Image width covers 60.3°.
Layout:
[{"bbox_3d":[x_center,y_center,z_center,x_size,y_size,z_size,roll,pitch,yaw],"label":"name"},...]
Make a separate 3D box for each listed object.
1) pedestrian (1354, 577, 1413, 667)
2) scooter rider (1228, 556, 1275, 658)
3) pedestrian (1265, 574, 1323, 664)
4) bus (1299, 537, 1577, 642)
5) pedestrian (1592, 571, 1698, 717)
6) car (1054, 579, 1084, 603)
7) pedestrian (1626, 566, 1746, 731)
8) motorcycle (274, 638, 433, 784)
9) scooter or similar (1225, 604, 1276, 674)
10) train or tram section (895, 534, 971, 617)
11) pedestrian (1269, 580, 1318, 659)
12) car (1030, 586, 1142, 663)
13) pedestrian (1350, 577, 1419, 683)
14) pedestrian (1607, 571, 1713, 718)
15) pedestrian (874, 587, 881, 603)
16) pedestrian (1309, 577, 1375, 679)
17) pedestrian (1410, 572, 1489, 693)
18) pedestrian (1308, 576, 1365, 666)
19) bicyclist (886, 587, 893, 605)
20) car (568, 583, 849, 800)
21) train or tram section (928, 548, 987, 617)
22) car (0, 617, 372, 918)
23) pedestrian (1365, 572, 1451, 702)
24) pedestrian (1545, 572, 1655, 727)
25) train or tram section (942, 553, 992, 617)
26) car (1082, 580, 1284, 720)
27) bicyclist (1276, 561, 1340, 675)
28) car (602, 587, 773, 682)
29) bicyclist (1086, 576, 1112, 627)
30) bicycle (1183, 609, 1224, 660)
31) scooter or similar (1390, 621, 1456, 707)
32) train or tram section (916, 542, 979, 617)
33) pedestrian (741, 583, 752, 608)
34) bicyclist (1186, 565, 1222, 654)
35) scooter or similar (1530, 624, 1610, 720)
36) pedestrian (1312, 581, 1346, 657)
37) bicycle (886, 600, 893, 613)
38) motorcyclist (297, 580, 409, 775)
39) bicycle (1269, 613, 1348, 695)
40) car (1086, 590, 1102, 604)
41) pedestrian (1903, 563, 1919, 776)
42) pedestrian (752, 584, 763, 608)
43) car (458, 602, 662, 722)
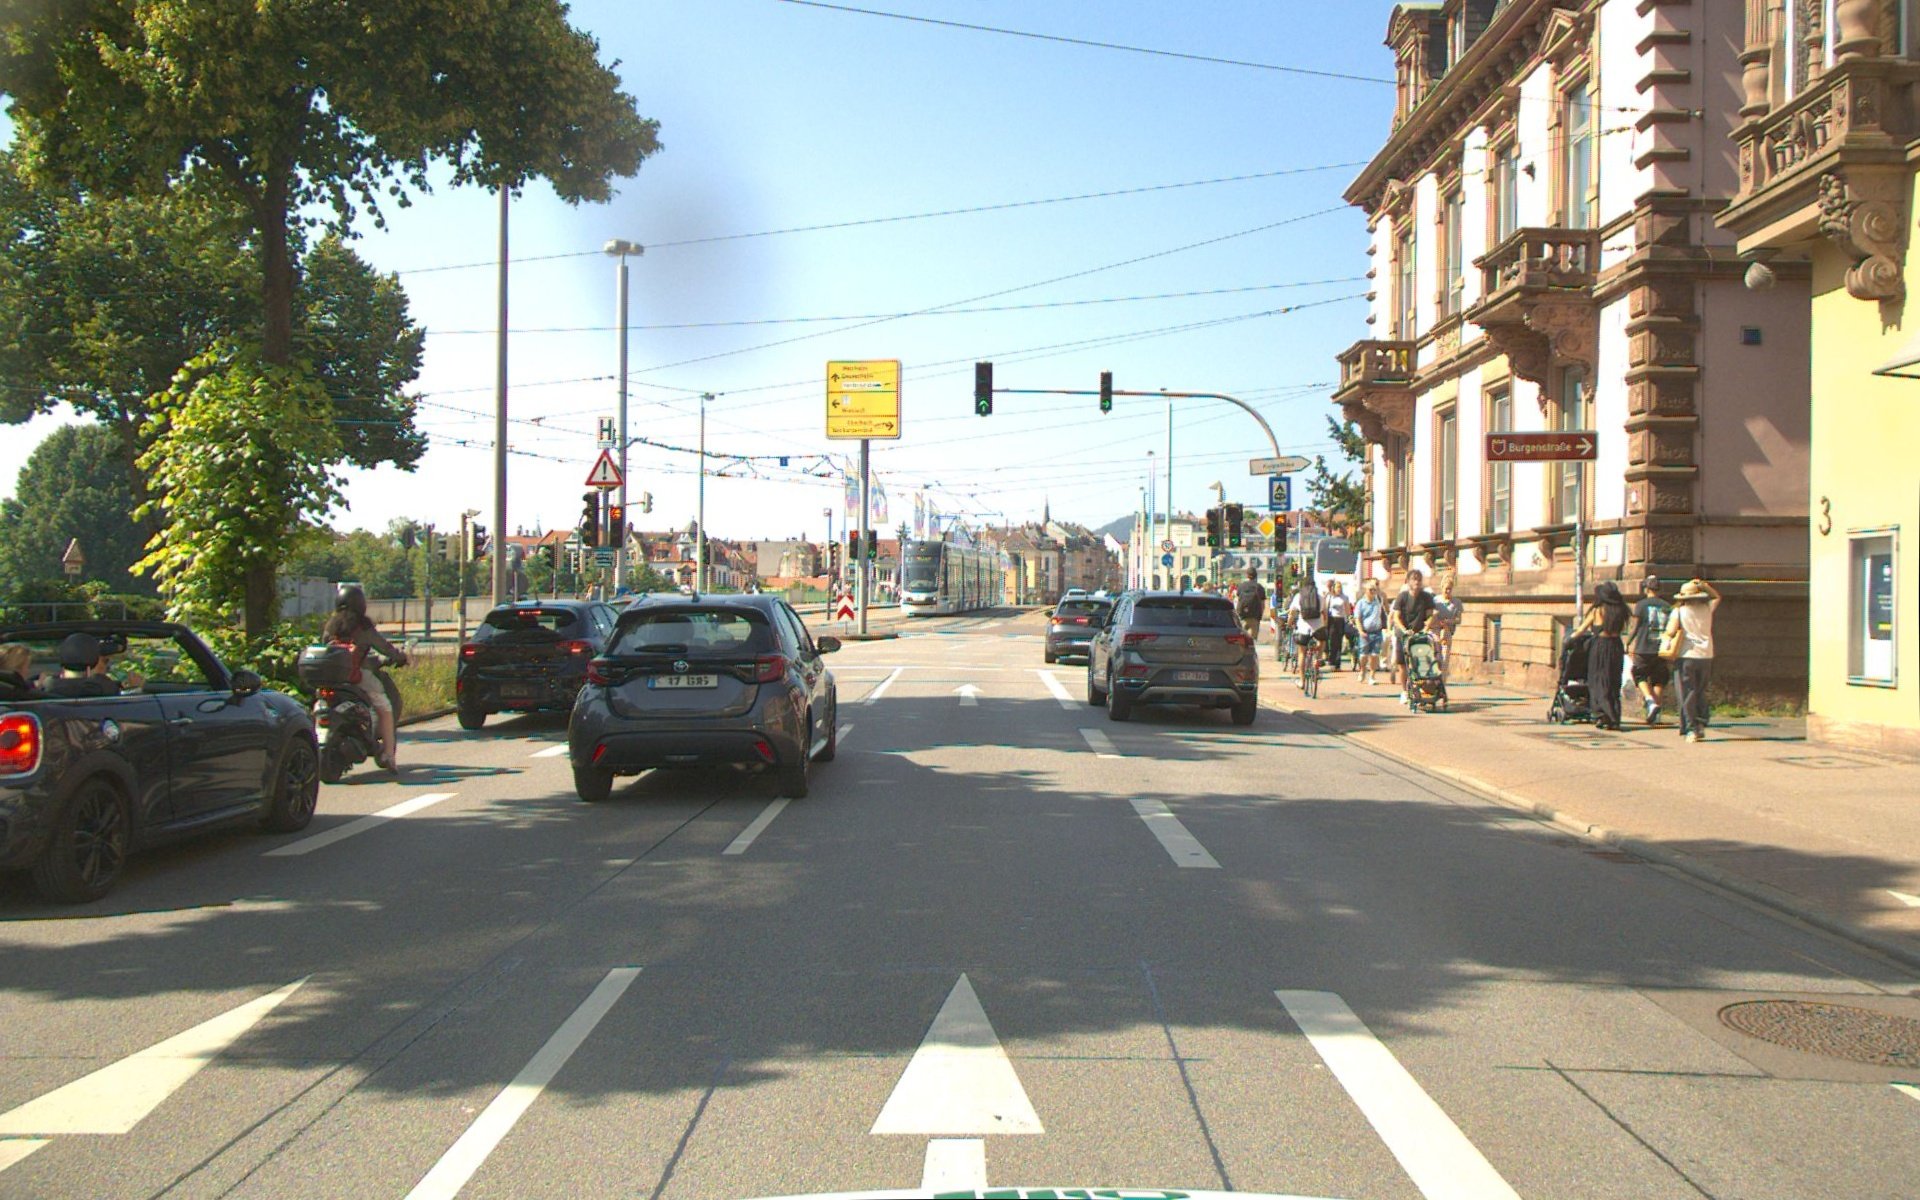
[{"bbox_3d":[8.138,0.412,31.825,0.845,1.669,0.875,2,-1,-1],"label":"pedestrian"},{"bbox_3d":[5.169,0.119,29.357,0.674,1.759,0.778,2,-1,3],"label":"scooter rider"},{"bbox_3d":[6.366,0.358,31.557,0.845,1.669,0.875,2,-1,-1],"label":"pedestrian"},{"bbox_3d":[15.060,-0.281,51.994,8.501,2.825,2.956,3,-1,-25],"label":"bus"},{"bbox_3d":[8.138,0.514,19.684,0.845,1.669,0.875,2,-1,-1],"label":"pedestrian"},{"bbox_3d":[7.497,-0.594,113.912,1.820,1.533,4.001,2,0,2],"label":"car"},{"bbox_3d":[7.521,0.491,17.172,0.845,1.669,0.875,0,0,-1],"label":"pedestrian"},{"bbox_3d":[-5.101,0.897,14.044,0.684,1.082,1.909,-1,0,-2],"label":"motorcycle"},{"bbox_3d":[5.129,0.678,29.314,0.674,1.188,1.464,2,0,3],"label":"scooter or similar"},{"bbox_3d":[-1.241,-1.163,82.899,2.763,3.843,8.231,2,0,5],"label":"train or tram section"},{"bbox_3d":[7.368,0.428,36.595,0.845,1.669,0.875,2,-1,-1],"label":"pedestrian"},{"bbox_3d":[2.693,0.511,36.185,1.953,1.518,3.998,3,0,-2],"label":"car"},{"bbox_3d":[6.978,0.487,27.212,0.845,1.669,0.875,2,-1,-1],"label":"pedestrian"},{"bbox_3d":[8.112,0.500,19.200,0.845,1.669,0.875,0,0,-1],"label":"pedestrian"},{"bbox_3d":[-7.252,-0.427,145.909,0.546,1.440,0.636,2,-1,-1],"label":"pedestrian"},{"bbox_3d":[6.458,0.468,28.016,0.845,1.669,0.875,2,-1,-1],"label":"pedestrian"},{"bbox_3d":[6.889,0.449,23.315,0.845,1.669,0.875,0,0,-1],"label":"pedestrian"},{"bbox_3d":[7.265,0.400,31.941,0.845,1.669,0.875,2,-1,-1],"label":"pedestrian"},{"bbox_3d":[-6.299,-0.338,148.690,0.546,1.563,0.743,2,-1,-1],"label":"bicyclist"},{"bbox_3d":[-1.891,0.651,13.566,1.741,1.501,3.999,0,0,-1],"label":"car"},{"bbox_3d":[-0.071,-1.029,99.180,2.763,3.843,8.230,2,0,4],"label":"train or tram section"},{"bbox_3d":[-5.068,0.804,9.580,1.778,1.355,4.001,-1,0,2],"label":"car"},{"bbox_3d":[6.014,0.488,22.243,0.845,1.669,0.875,2,-1,-1],"label":"pedestrian"},{"bbox_3d":[7.216,0.550,18.686,0.845,1.669,0.875,2,-1,-1],"label":"pedestrian"},{"bbox_3d":[0.528,-0.961,107.509,2.764,3.843,8.229,2,0,3],"label":"train or tram section"},{"bbox_3d":[2.695,0.581,20.862,1.836,1.519,3.998,3,0,-2],"label":"car"},{"bbox_3d":[5.088,0.266,24.231,0.674,1.604,1.049,2,-1,0],"label":"bicyclist"},{"bbox_3d":[-4.380,0.540,27.207,1.995,1.355,4.001,3,0,2],"label":"car"},{"bbox_3d":[4.433,0.048,52.781,0.674,1.604,1.049,2,-1,-1],"label":"bicyclist"},{"bbox_3d":[5.556,0.776,37.855,0.719,1.112,1.898,2,0,3],"label":"bicycle"},{"bbox_3d":[6.020,0.825,21.531,0.588,1.066,0.799,2,-1,-1],"label":"scooter or similar"},{"bbox_3d":[-0.633,-1.095,91.070,2.763,3.843,8.230,2,0,3],"label":"train or tram section"},{"bbox_3d":[-12.788,-0.271,99.129,0.546,1.440,0.636,2,-1,-1],"label":"pedestrian"},{"bbox_3d":[5.583,0.220,37.851,0.674,1.996,0.778,2,-1,3],"label":"bicyclist"},{"bbox_3d":[7.155,0.833,19.425,0.588,1.066,0.799,2,-1,-1],"label":"scooter or similar"},{"bbox_3d":[8.267,0.429,37.054,0.564,1.669,0.611,2,-1,-1],"label":"pedestrian"},{"bbox_3d":[-6.354,0.612,148.701,0.546,1.144,1.222,2,0,-1],"label":"bicycle"},{"bbox_3d":[-5.102,0.643,13.932,0.675,1.583,0.717,-1,-1,-2],"label":"motorcyclist"},{"bbox_3d":[5.076,0.766,24.200,0.719,1.112,1.898,2,0,0],"label":"bicycle"},{"bbox_3d":[16.532,-0.383,204.165,1.820,1.533,4.001,2,0,2],"label":"car"},{"bbox_3d":[7.748,0.538,12.617,0.641,1.649,0.815,0,1,-1],"label":"pedestrian"},{"bbox_3d":[-12.134,-0.242,99.128,0.546,1.440,0.636,2,-1,-1],"label":"pedestrian"},{"bbox_3d":[-4.772,0.697,20.251,1.421,1.323,4.001,0,0,2],"label":"car"}]
